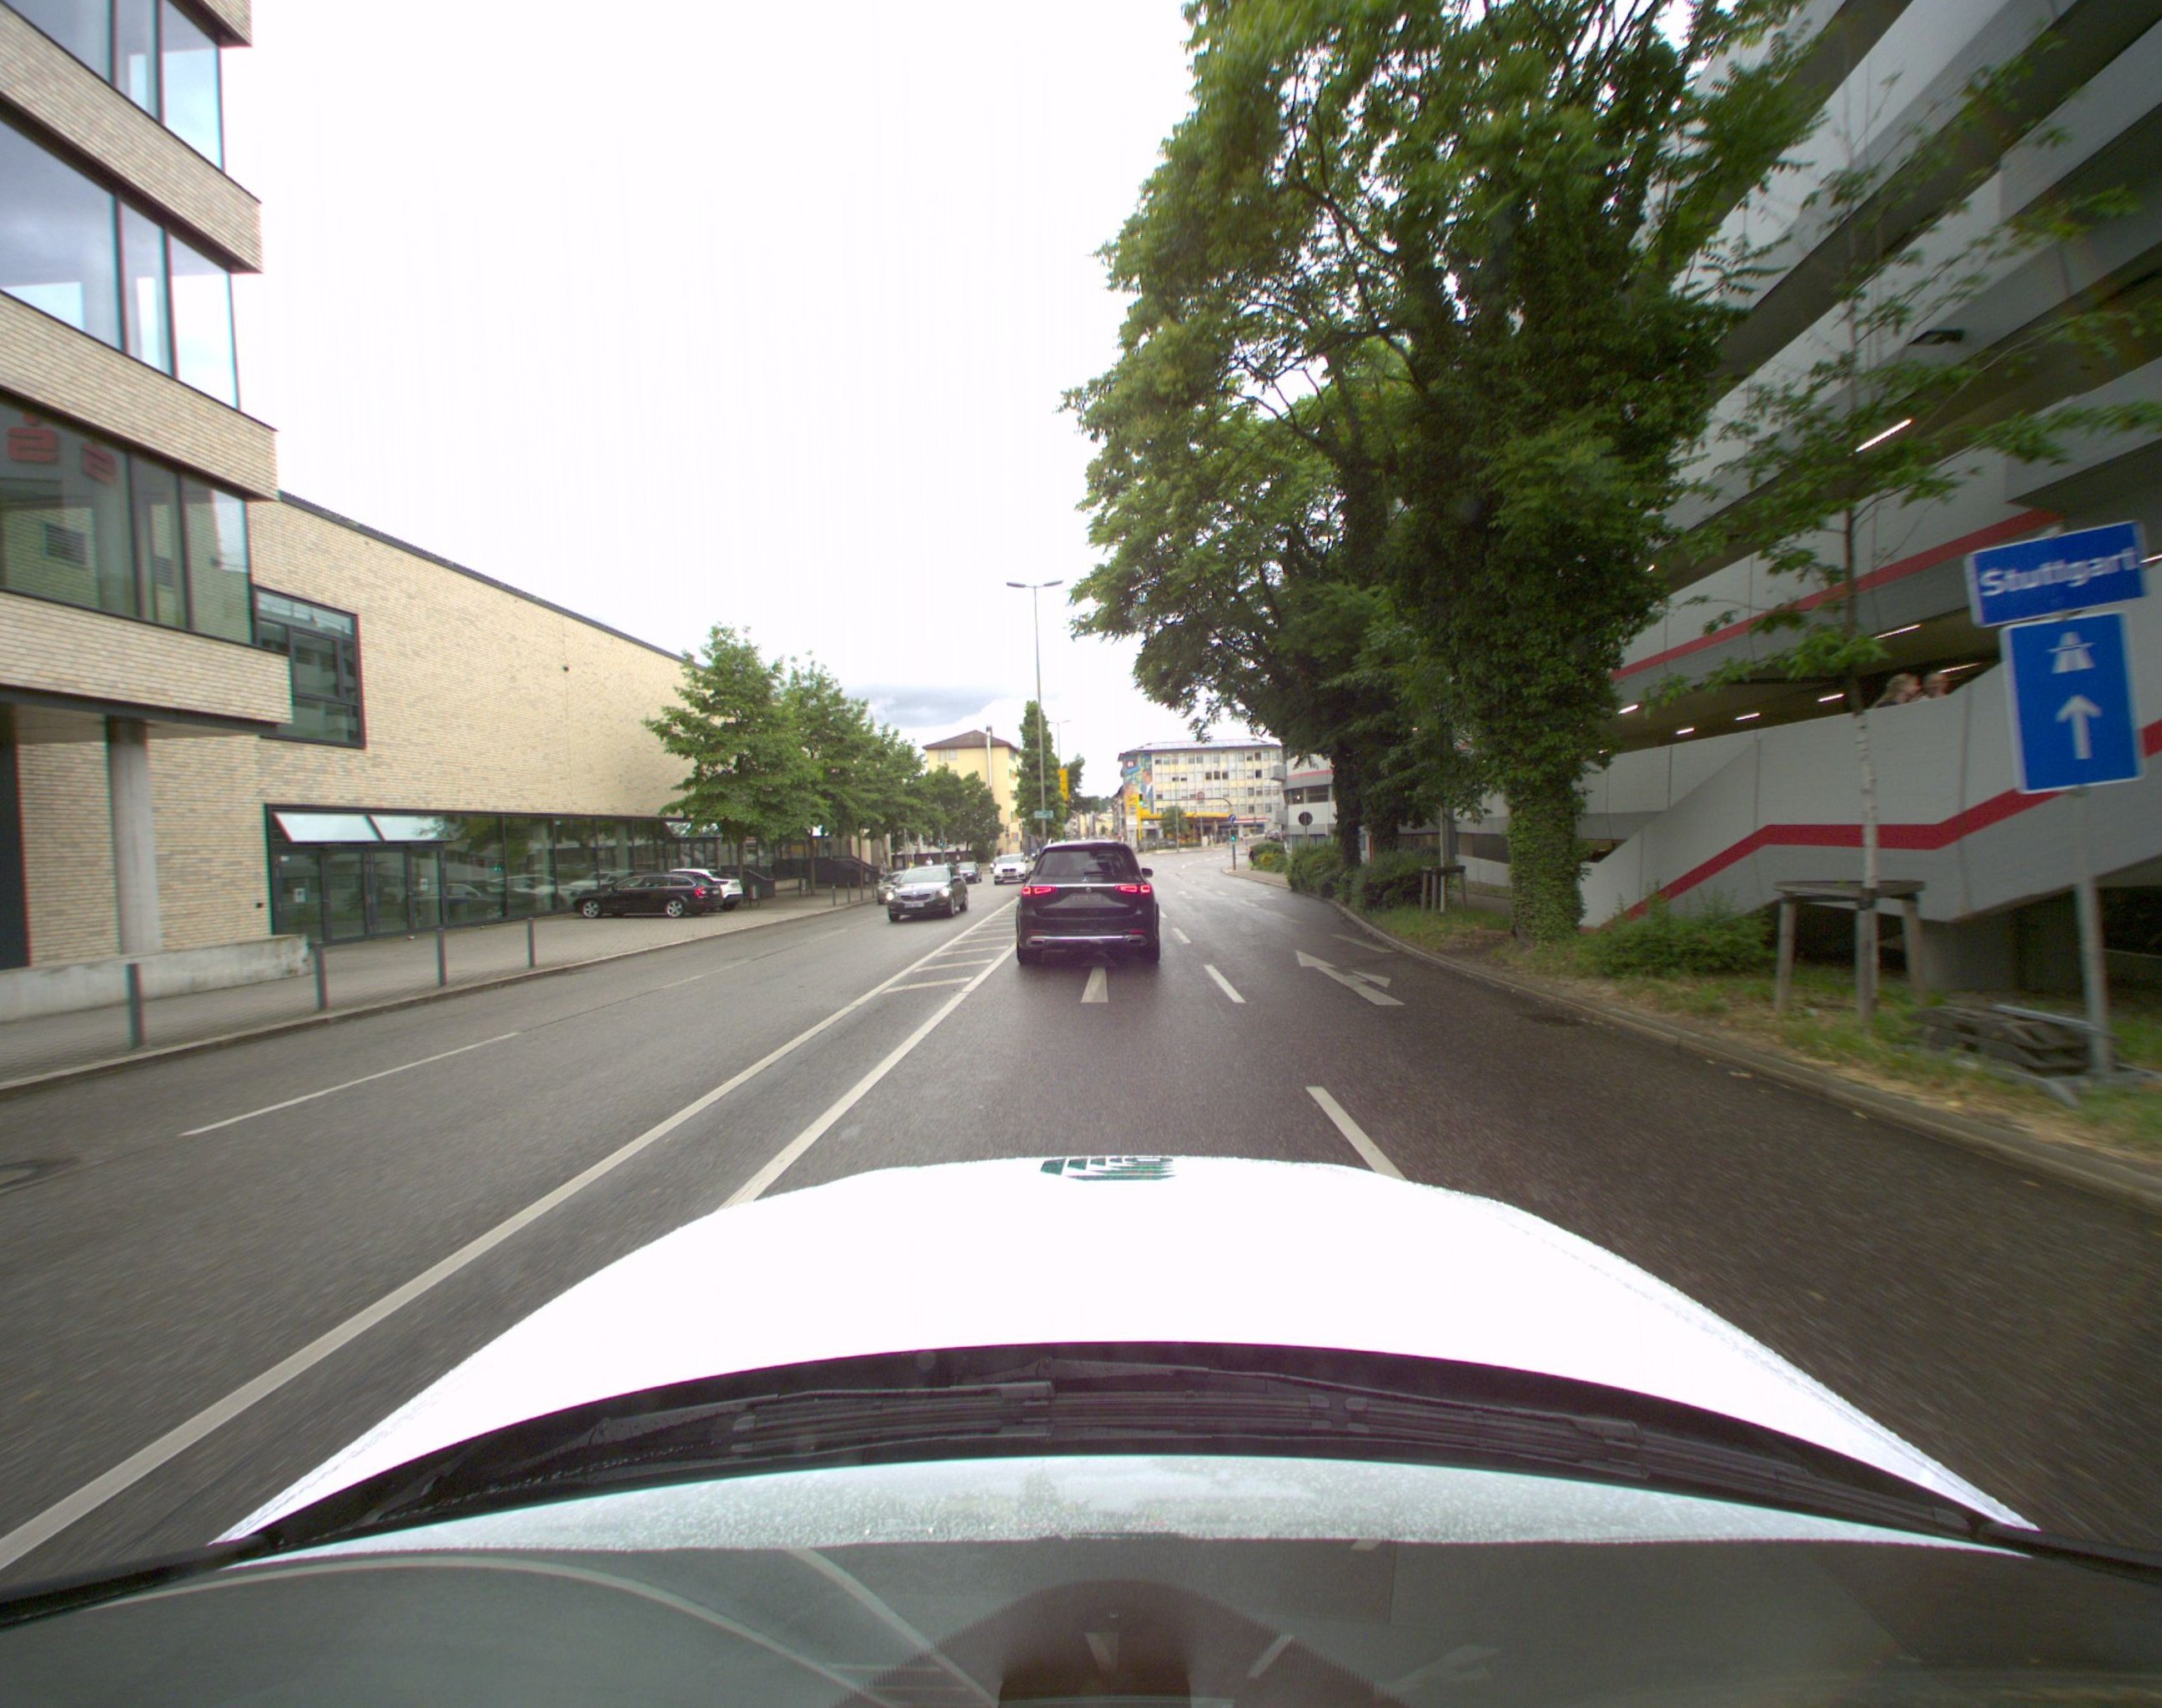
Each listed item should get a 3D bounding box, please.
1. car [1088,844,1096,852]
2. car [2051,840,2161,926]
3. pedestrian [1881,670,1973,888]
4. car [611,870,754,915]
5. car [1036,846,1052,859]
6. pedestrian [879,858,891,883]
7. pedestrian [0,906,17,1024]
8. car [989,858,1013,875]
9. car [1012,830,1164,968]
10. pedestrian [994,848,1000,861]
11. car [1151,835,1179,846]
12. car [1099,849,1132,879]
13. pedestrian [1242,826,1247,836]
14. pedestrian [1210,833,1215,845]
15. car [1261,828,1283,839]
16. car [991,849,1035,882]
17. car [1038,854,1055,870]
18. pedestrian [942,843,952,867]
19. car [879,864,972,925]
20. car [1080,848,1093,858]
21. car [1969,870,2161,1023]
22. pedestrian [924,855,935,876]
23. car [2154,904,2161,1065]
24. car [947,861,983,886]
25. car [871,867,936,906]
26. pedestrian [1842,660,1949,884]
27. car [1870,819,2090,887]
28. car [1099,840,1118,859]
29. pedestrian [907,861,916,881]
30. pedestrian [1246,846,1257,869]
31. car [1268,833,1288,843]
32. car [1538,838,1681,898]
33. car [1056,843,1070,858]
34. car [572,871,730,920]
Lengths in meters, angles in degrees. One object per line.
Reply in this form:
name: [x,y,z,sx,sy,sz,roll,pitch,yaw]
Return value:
car: [2.855,-1.552,209.047,1.985,2.014,4.002,0,-1,3]
car: [24.631,0.583,17.877,3.958,1.783,1.823,-2,0,14]
pedestrian: [8.645,-0.746,8.333,0.419,2.154,0.435,-2,-1,6]
car: [-14.342,1.379,29.496,4.158,1.547,2.002,0,-1,3]
car: [-4.979,-0.238,110.458,1.882,1.586,4.536,-4,0,0]
pedestrian: [-13.129,1.108,54.564,0.641,1.666,1.017,0,-1,-4]
pedestrian: [-13.785,1.398,10.128,0.448,1.475,0.463,0,-1,-4]
car: [-7.198,1.138,73.856,1.727,1.393,4.198,-4,0,-1]
car: [0.157,0.611,12.711,1.986,1.800,4.001,0,-1,2]
pedestrian: [-10.906,0.061,105.215,0.647,1.727,0.628,-3,0,-2]
car: [12.650,-2.056,122.924,1.747,1.376,3.952,-3,1,-42]
car: [2.183,0.625,51.719,1.986,1.800,4.001,0,-1,2]
pedestrian: [26.254,-3.693,130.913,0.521,1.727,0.693,-2,0,28]
pedestrian: [18.548,-2.095,114.637,0.570,1.697,0.631,0,-1,3]
car: [31.132,-3.316,132.486,1.974,1.706,4.026,-3,1,35]
car: [-4.109,0.677,49.607,1.883,1.811,4.579,-4,0,4]
car: [-3.961,0.876,93.281,1.727,1.625,4.230,-4,0,-1]
pedestrian: [-10.322,0.079,62.540,0.687,1.757,0.716,-2,0,-9]
car: [-4.389,1.105,23.636,1.806,1.462,4.286,-4,-1,-1]
car: [0.904,-0.184,134.362,1.988,1.614,4.188,0,-1,-1]
car: [13.736,1.050,9.882,3.713,1.540,1.815,-1,3,7]
pedestrian: [-12.026,0.900,64.739,0.688,1.656,0.612,-3,0,-6]
car: [12.771,1.273,7.145,3.966,1.624,1.842,-1,0,6]
car: [-7.693,1.278,54.456,1.740,1.412,3.970,-4,0,0]
car: [-7.676,1.369,35.560,1.823,1.388,4.229,-4,0,0]
pedestrian: [8.133,-0.796,8.149,0.511,2.154,0.494,-2,-1,6]
car: [26.086,-0.018,23.801,3.958,1.783,1.823,-2,0,14]
car: [2.898,-0.446,87.428,1.986,2.014,4.001,0,-1,1]
pedestrian: [-13.537,1.369,64.944,0.435,1.534,0.548,-3,0,16]
pedestrian: [12.508,0.251,59.671,0.639,1.710,0.474,-2,-2,38]
car: [29.222,-2.334,120.631,1.779,1.525,4.081,0,1,30]
car: [16.848,0.447,26.130,3.431,1.783,1.823,-2,0,14]
car: [-2.600,-0.497,116.642,1.787,1.854,4.791,-4,0,0]
car: [-14.246,1.352,27.189,4.169,1.495,1.996,0,-1,-5]
